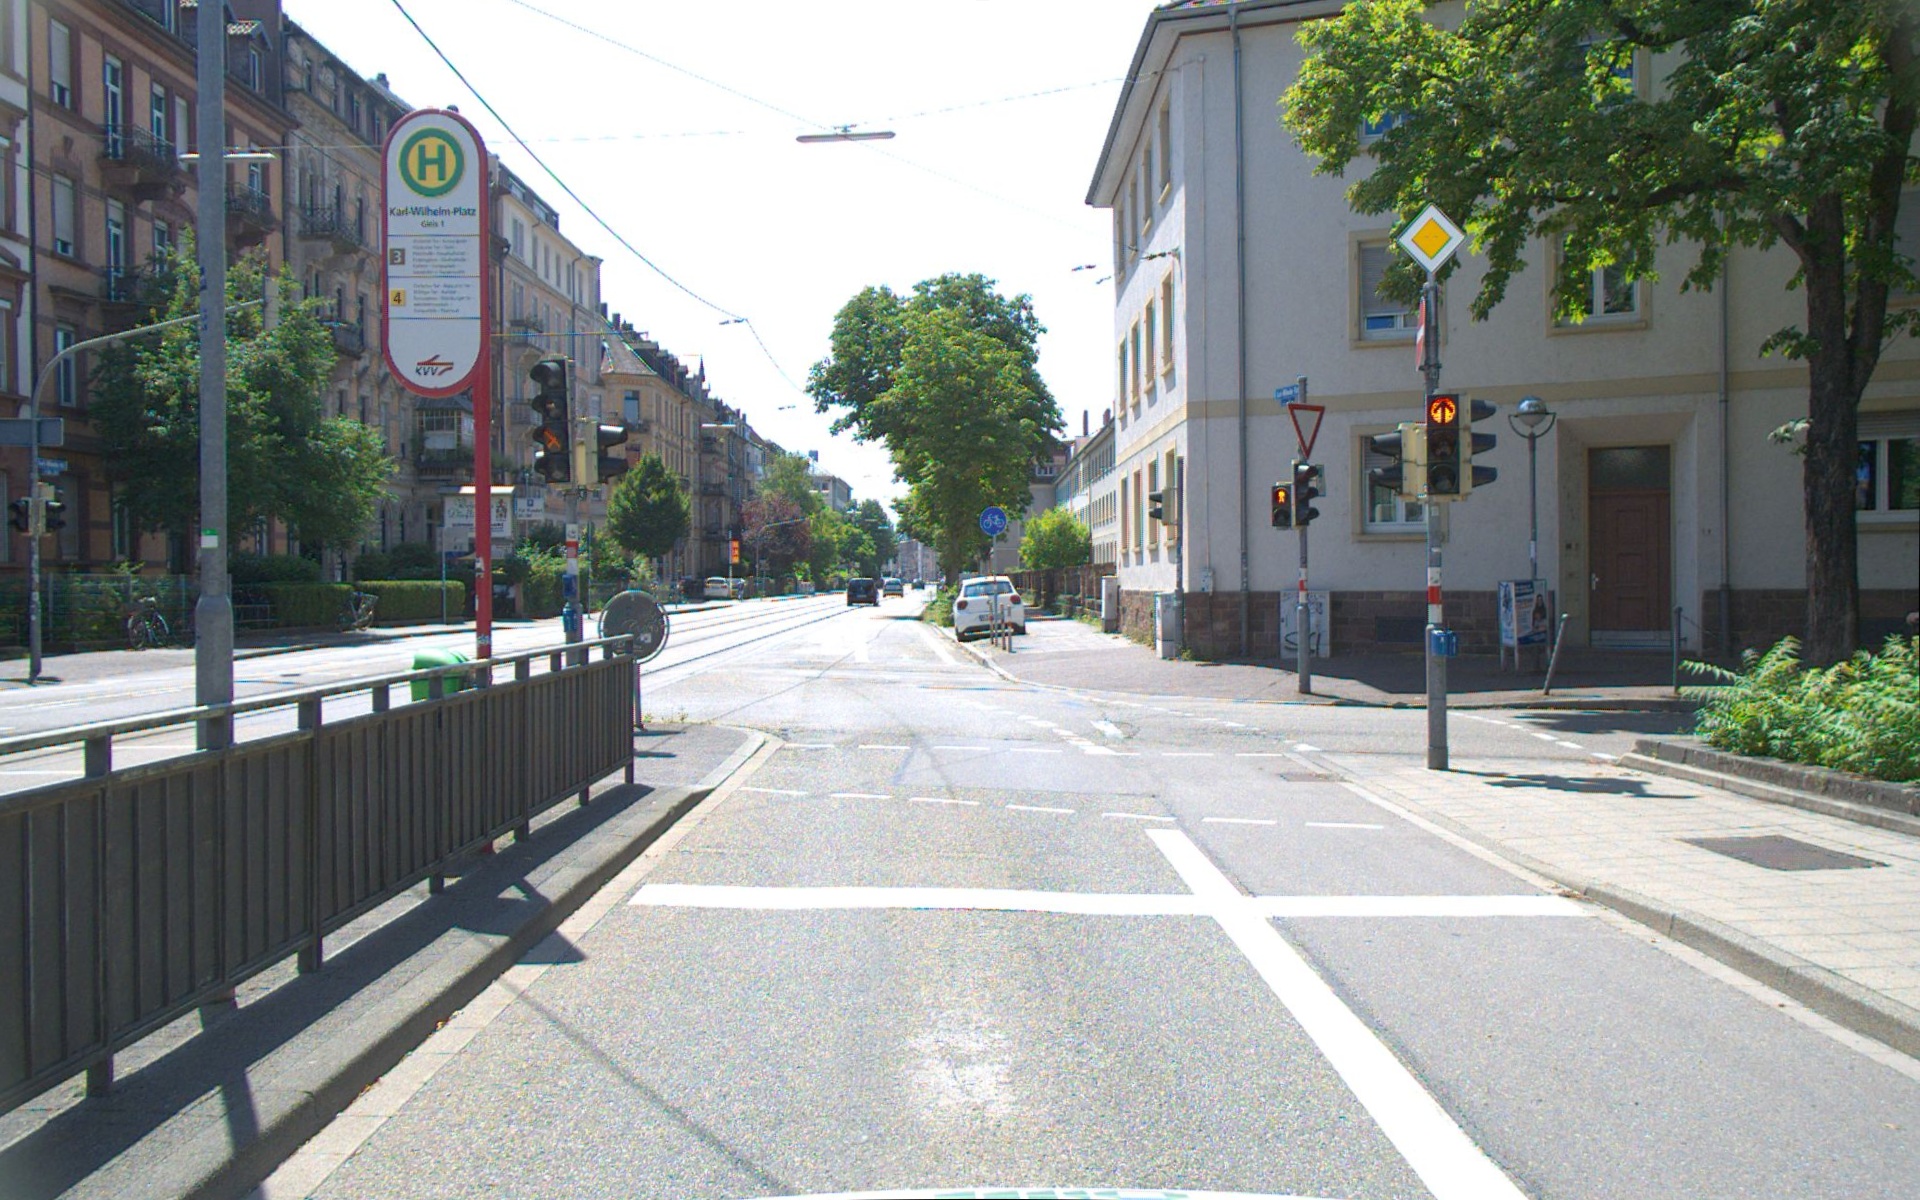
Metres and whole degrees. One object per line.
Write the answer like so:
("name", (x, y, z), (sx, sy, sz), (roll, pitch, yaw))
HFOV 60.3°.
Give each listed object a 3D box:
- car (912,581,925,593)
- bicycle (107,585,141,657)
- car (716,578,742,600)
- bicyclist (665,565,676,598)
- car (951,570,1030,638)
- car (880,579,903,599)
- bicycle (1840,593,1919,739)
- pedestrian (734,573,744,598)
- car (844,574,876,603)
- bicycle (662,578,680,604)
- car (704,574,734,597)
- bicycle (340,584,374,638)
("car", (-5.607, -1.795, 222.445), (1.596, 1.498, 3.561), (-4, 0, -3))
("bicycle", (-17.182, 0.414, 33.983), (0.607, 1.420, 2.287), (0, 0, -27))
("car", (-17.772, -0.840, 127.521), (1.596, 1.498, 3.561), (-4, 0, -3))
("bicyclist", (-15.868, -0.996, 90.745), (0.531, 1.794, 0.498), (0, 0, -2))
("car", (0.717, 0.079, 41.047), (1.712, 1.498, 3.937), (-4, 0, -1))
("car", (-5.531, -0.888, 133.210), (1.712, 1.498, 3.937), (-4, 0, -1))
("bicycle", (8.792, 0.574, 14.308), (2.043, 1.258, 0.579), (0, 0, 33))
("pedestrian", (-15.548, -1.028, 116.275), (0.664, 1.758, 0.677), (0, 0, -1))
("car", (-5.342, -0.635, 88.598), (1.494, 1.469, 3.364), (-2, 0, 0))
("bicycle", (-15.870, -0.513, 90.861), (0.565, 1.412, 2.500), (0, 0, -1))
("car", (-17.333, -1.023, 119.148), (1.651, 1.498, 3.936), (-4, 0, -3))
("bicycle", (-16.050, 0.274, 44.000), (0.584, 1.380, 2.419), (0, 0, -27))
